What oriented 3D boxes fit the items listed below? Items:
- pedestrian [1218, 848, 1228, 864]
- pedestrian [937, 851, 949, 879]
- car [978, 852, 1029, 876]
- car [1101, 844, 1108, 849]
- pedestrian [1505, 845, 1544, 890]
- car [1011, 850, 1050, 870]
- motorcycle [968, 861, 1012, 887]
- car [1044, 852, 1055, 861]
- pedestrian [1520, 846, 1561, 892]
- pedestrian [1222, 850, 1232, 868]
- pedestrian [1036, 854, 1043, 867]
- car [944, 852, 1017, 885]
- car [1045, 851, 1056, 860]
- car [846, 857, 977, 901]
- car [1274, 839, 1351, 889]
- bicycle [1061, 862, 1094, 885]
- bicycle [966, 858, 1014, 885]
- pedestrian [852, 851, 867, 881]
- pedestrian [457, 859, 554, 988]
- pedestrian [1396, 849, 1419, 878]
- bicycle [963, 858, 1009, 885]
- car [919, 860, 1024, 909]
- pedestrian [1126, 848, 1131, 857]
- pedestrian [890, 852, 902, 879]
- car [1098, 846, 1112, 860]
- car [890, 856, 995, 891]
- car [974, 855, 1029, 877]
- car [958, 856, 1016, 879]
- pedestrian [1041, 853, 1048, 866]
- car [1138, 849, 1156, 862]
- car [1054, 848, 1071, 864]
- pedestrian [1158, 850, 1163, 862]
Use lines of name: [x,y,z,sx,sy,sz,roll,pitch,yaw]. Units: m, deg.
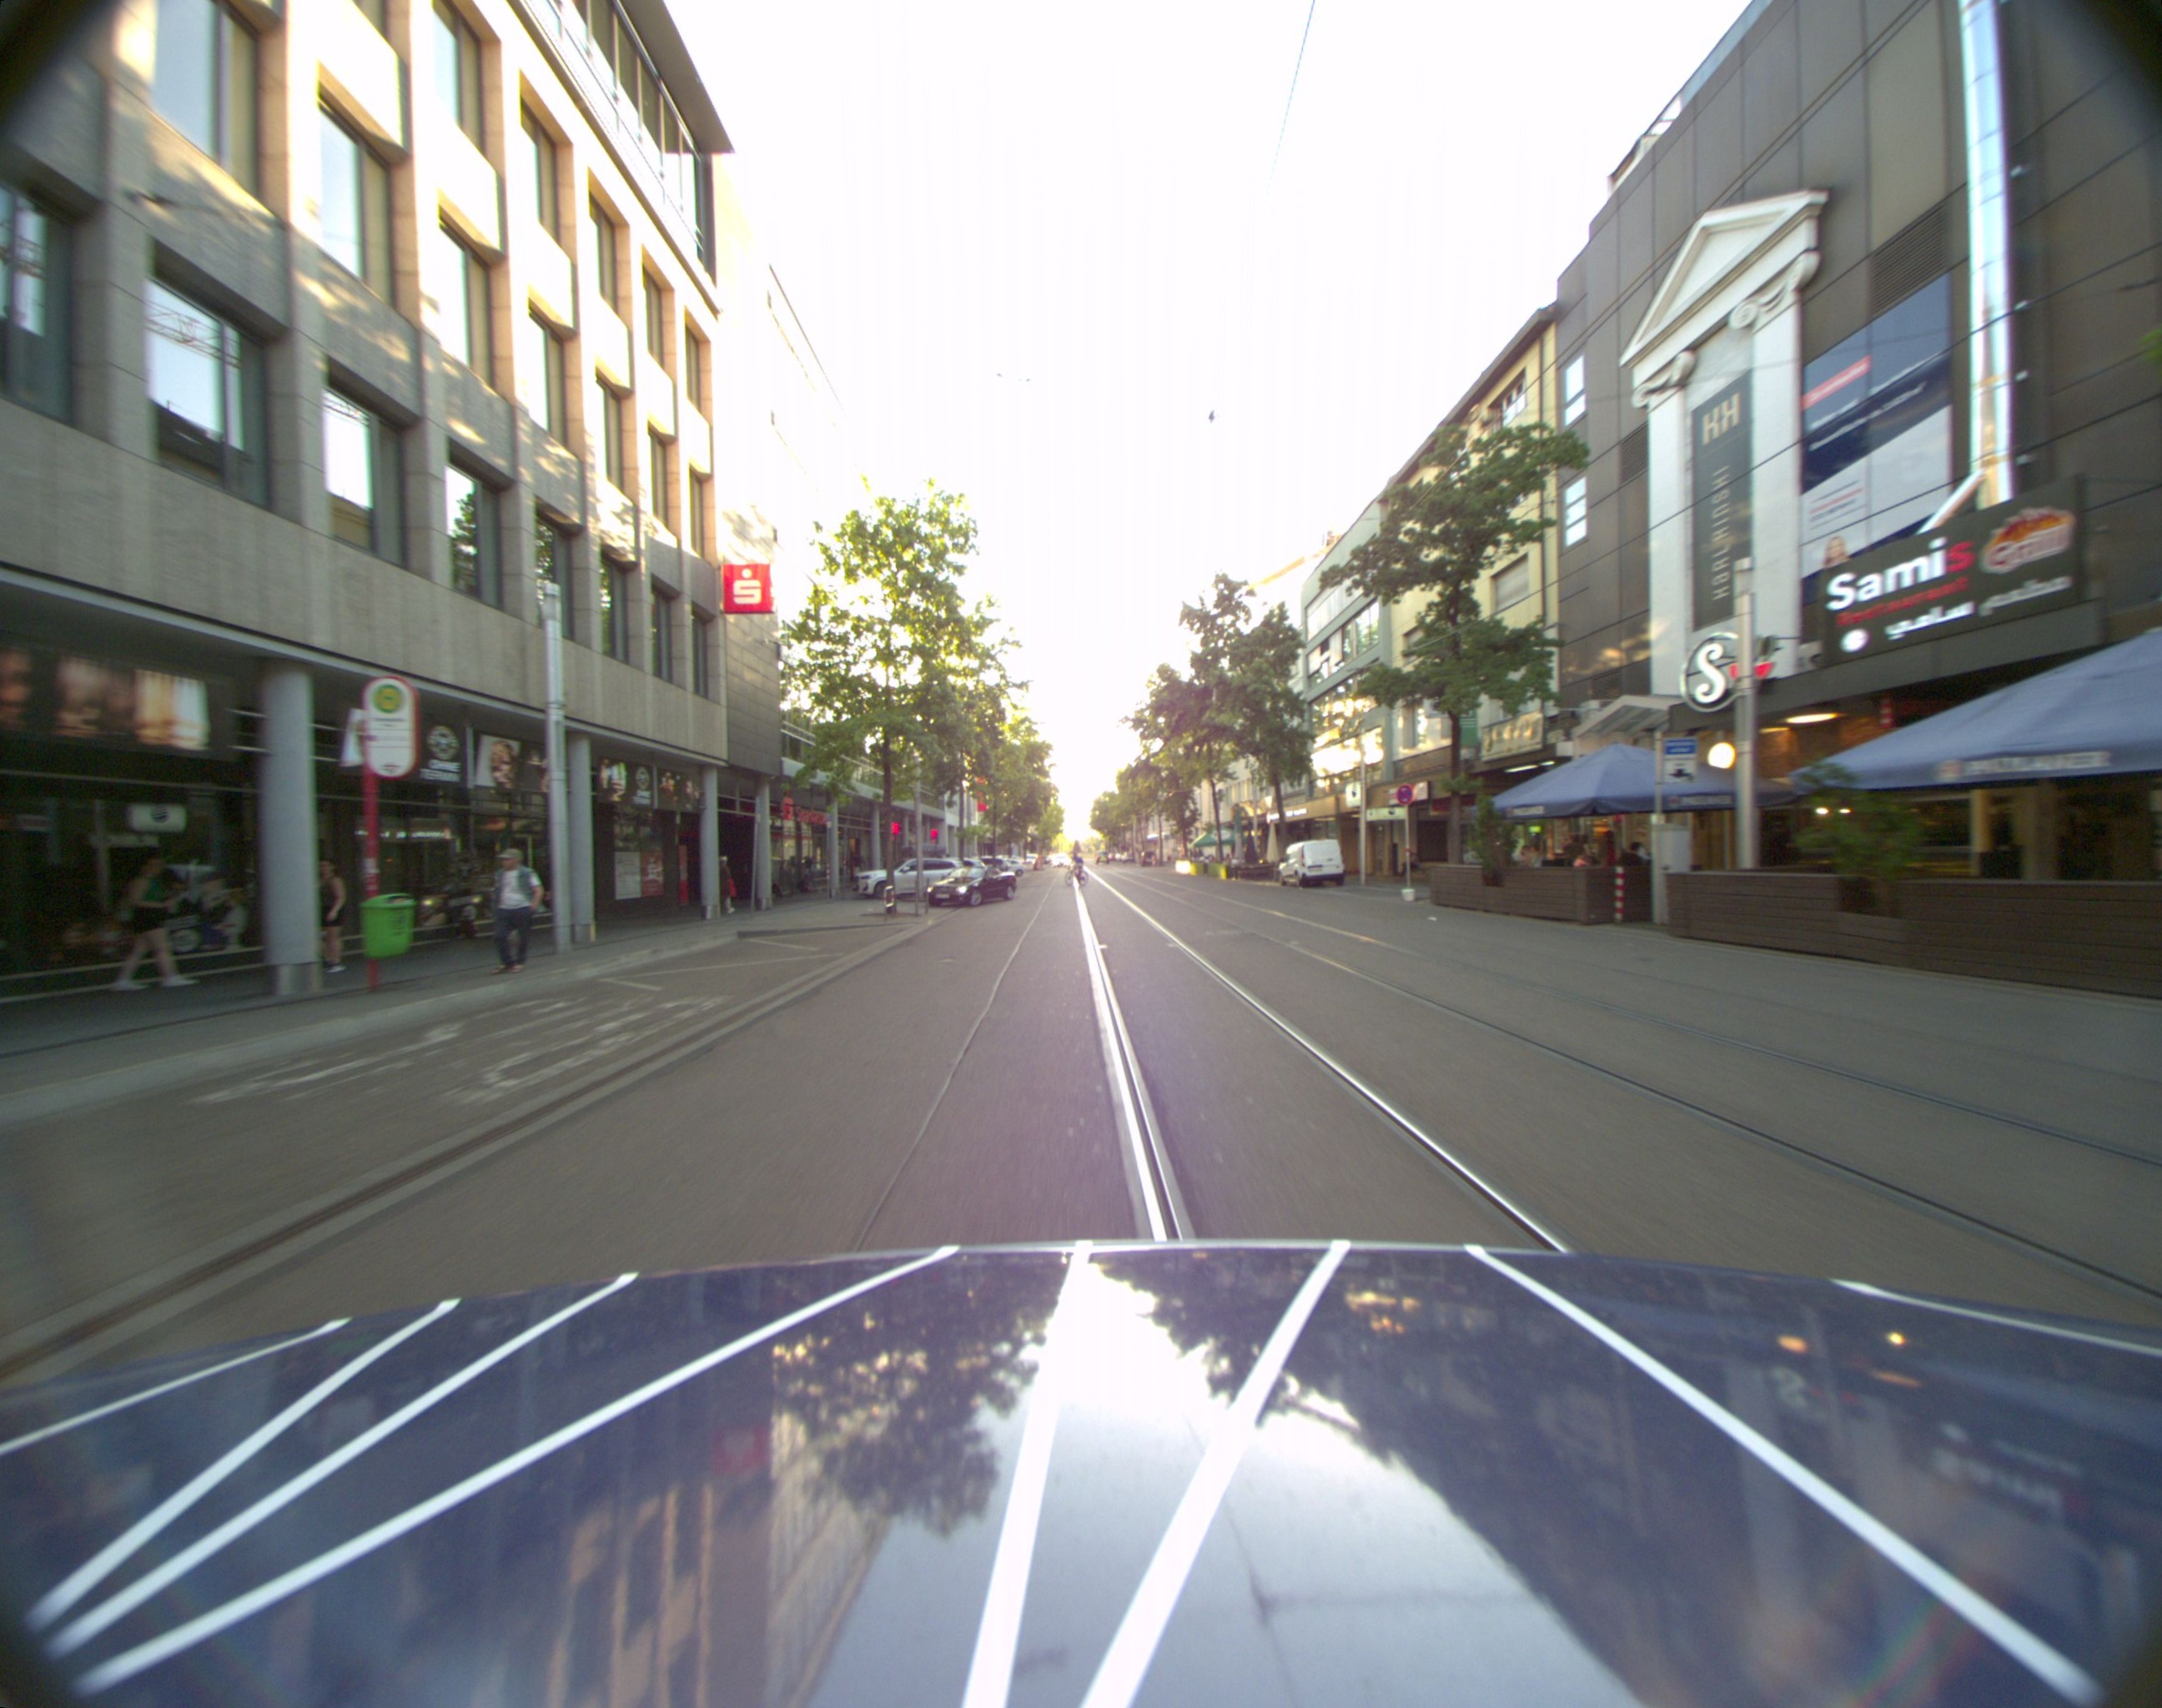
pedestrian: [12.436,0.170,66.555,0.650,1.451,0.650,-1,1,-2]
pedestrian: [-8.238,0.653,45.316,0.618,1.681,0.628,-1,1,0]
car: [-6.795,0.876,66.704,4.004,1.776,1.861,-4,1,-24]
car: [6.692,-2.094,212.741,1.799,1.501,4.000,-1,0,0]
pedestrian: [13.055,0.388,22.370,0.642,1.221,0.665,-6,2,-3]
car: [-5.222,0.612,79.556,1.860,1.776,4.007,-3,1,34]
motorcycle: [-4.835,1.061,40.495,1.153,1.346,2.115,1,0,41]
car: [-5.560,0.397,134.204,1.793,1.499,3.999,-2,1,0]
pedestrian: [12.981,0.402,21.469,0.642,1.221,0.665,-6,2,-3]
pedestrian: [12.430,0.413,64.726,0.650,1.451,0.650,-1,1,-2]
pedestrian: [-4.511,0.683,82.683,0.650,1.451,0.649,-2,1,-17]
car: [-6.807,0.979,51.630,4.474,1.869,1.796,-4,1,-37]
car: [-5.630,0.309,141.406,1.793,1.499,3.999,-2,1,0]
car: [-6.618,0.968,29.841,4.646,1.620,1.914,1,-1,-32]
car: [9.424,0.377,31.336,1.830,1.811,4.329,-4,0,1]
bicycle: [-0.174,0.957,37.630,0.734,1.067,1.861,-1,0,-32]
bicycle: [-5.494,1.058,45.887,2.677,1.448,0.728,-4,1,-27]
pedestrian: [-12.495,0.678,42.841,0.629,1.681,0.557,-1,1,-31]
pedestrian: [-7.420,0.876,9.828,0.670,1.579,0.638,-3,1,-1]
pedestrian: [13.773,0.393,32.067,0.650,1.168,0.650,-2,1,-6]
bicycle: [-5.880,1.058,46.990,2.677,1.448,0.675,-4,1,-27]
car: [-3.716,1.018,26.722,1.796,1.400,4.570,-2,1,17]
pedestrian: [7.677,-0.170,123.422,0.650,1.451,0.650,-1,1,-2]
pedestrian: [-11.695,0.744,47.991,0.558,1.681,0.628,-1,1,0]
car: [3.639,-0.171,116.433,1.998,2.002,4.000,-1,0,0]
car: [-6.750,0.925,37.173,4.646,1.578,1.913,1,0,-35]
car: [-6.478,0.973,61.995,4.005,1.501,1.861,-4,1,-30]
car: [-7.216,1.045,58.444,4.005,1.501,1.796,-4,1,-30]
pedestrian: [-4.127,0.637,85.228,0.650,1.451,0.649,-2,1,-17]
car: [8.094,0.135,93.025,1.799,1.501,4.000,-1,0,0]
car: [-2.366,0.297,98.953,1.998,2.002,4.000,-1,0,0]
pedestrian: [10.049,0.279,95.765,0.490,1.451,0.543,-1,1,-2]
